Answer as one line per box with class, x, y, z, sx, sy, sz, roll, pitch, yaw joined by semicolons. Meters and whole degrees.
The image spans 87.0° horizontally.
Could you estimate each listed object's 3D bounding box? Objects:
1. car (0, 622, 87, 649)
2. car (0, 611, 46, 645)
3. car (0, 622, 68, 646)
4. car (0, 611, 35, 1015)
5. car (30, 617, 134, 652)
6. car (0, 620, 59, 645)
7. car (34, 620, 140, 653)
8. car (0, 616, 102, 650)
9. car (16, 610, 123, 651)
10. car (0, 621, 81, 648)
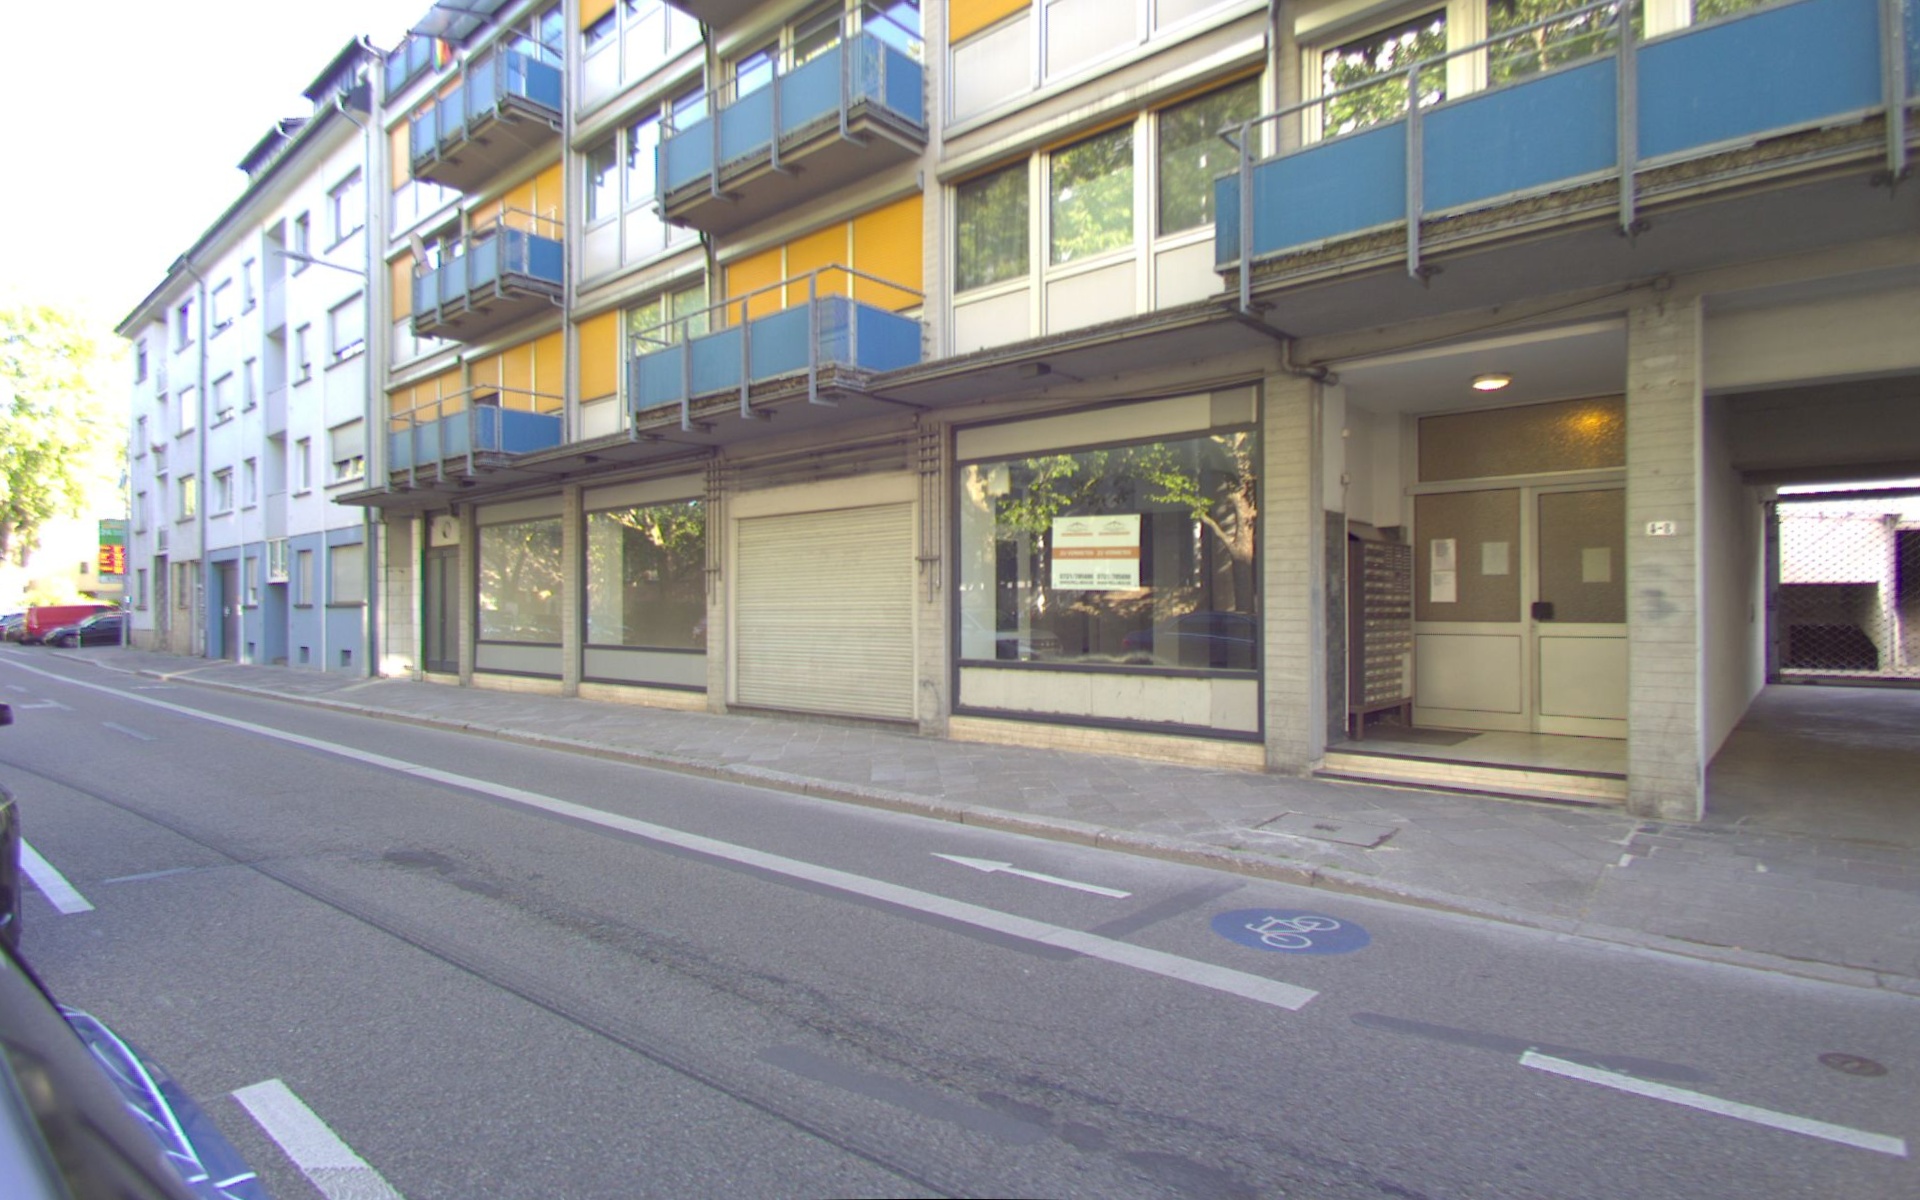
car;-52.338;1.980;57.632;1.594;1.385;3.854;-1;0;42
car;-63.203;1.827;66.998;1.725;2.193;3.854;-1;0;42
car;-57.675;2.072;62.411;1.525;1.343;3.854;-1;0;42
car;-5.758;0.824;4.566;4.291;1.515;1.805;-1;0;40
car;-41.999;1.608;48.460;1.602;1.521;3.620;-1;0;42
car;-59.705;2.056;64.168;1.539;1.451;3.733;-1;0;42
car;-40.282;1.658;46.764;1.534;1.420;3.551;-2;-1;42
car;-46.540;1.678;51.815;1.603;1.598;3.854;-1;0;42
car;-44.193;1.467;50.277;1.749;1.921;3.854;-1;-1;42
car;-53.852;1.996;58.971;1.594;1.385;3.854;-1;0;42
